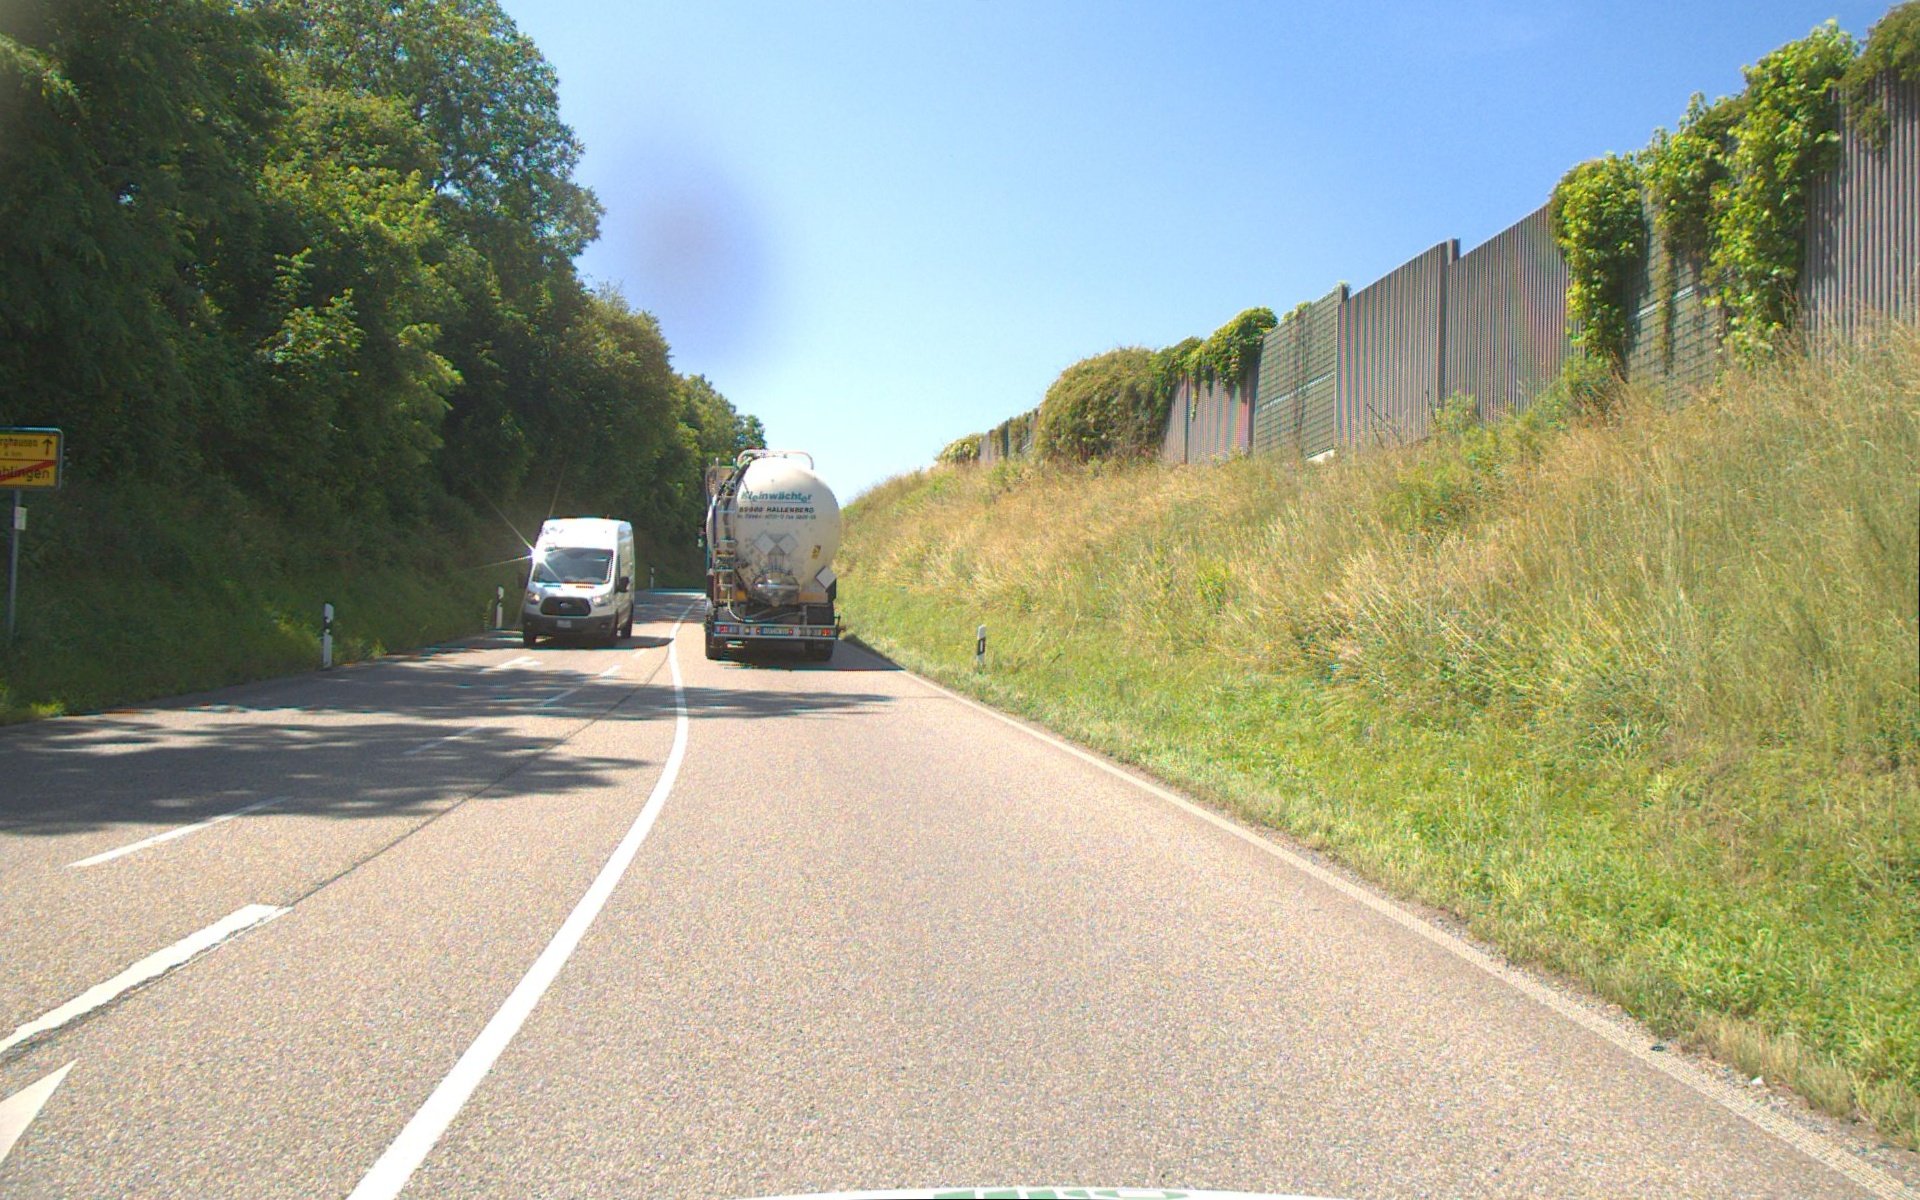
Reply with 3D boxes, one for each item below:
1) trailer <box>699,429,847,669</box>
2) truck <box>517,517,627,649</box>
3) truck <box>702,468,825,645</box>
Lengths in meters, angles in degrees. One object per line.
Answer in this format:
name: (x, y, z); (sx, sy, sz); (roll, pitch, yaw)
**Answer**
trailer: (-4.177, -1.069, 35.475); (2.611, 4.261, 11.883); (0, 2, -8)
truck: (-8.695, -0.444, 37.471); (2.016, 2.733, 5.968); (-1, 2, -10)
truck: (-5.007, -1.080, 41.077); (2.677, 3.998, 7.247); (0, 1, -10)
